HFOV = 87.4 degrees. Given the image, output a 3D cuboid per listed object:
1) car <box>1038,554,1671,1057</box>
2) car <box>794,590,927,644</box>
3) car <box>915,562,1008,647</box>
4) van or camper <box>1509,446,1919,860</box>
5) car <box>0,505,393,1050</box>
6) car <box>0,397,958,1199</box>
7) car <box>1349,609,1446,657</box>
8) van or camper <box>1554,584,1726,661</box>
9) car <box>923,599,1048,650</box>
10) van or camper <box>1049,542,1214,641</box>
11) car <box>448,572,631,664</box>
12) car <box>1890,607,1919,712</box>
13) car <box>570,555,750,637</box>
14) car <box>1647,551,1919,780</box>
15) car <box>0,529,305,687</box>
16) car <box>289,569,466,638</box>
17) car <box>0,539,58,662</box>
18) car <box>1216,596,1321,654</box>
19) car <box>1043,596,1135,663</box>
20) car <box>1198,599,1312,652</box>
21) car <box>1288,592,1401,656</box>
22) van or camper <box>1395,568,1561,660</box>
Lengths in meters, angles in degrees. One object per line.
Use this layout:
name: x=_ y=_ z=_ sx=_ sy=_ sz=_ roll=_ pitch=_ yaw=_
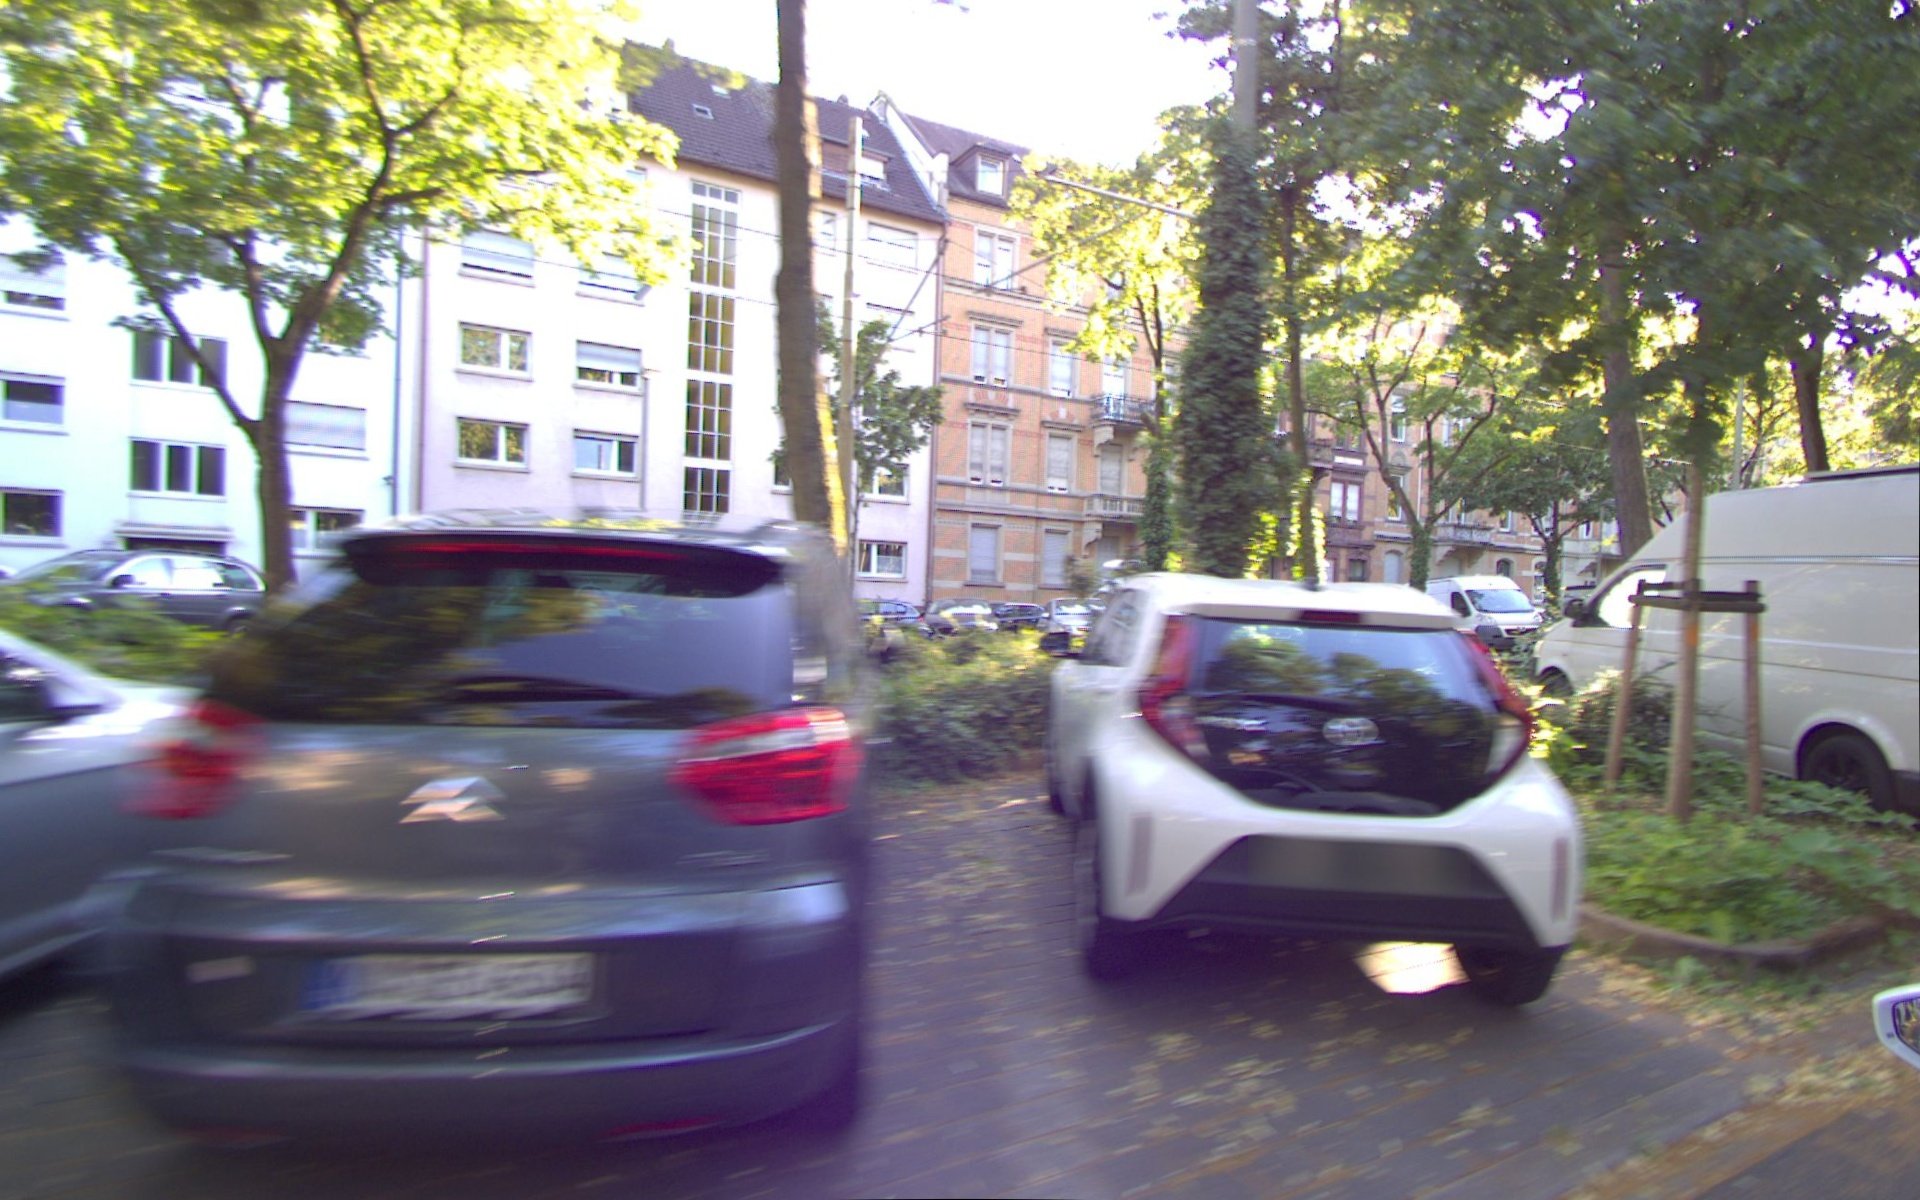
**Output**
car: x=1.388 y=0.584 z=5.012 sx=1.789 sy=1.513 sz=3.551 roll=4 pitch=3 yaw=2
car: x=-2.961 y=0.490 z=29.850 sx=3.465 sy=1.423 sz=1.843 roll=1 pitch=3 yaw=-29
car: x=0.129 y=0.117 z=22.407 sx=1.703 sy=1.669 sz=4.002 roll=1 pitch=-1 yaw=5
van or camper: x=6.850 y=0.281 z=8.102 sx=2.005 sy=2.504 sz=4.885 roll=3 pitch=3 yaw=0
car: x=-3.486 y=0.457 z=2.456 sx=1.821 sy=1.460 sz=4.242 roll=3 pitch=3 yaw=-1
car: x=-1.097 y=0.413 z=3.935 sx=1.822 sy=1.685 sz=4.037 roll=3 pitch=3 yaw=-4
car: x=18.092 y=1.339 z=41.546 sx=3.465 sy=1.807 sz=1.843 roll=1 pitch=3 yaw=-29
van or camper: x=23.408 y=0.763 z=34.936 sx=2.261 sy=2.402 sz=5.553 roll=2 pitch=-1 yaw=1
car: x=0.813 y=0.754 z=31.711 sx=3.465 sy=1.423 sz=1.843 roll=1 pitch=3 yaw=-29
van or camper: x=5.985 y=-0.245 z=34.885 sx=5.447 sy=3.150 sz=2.065 roll=2 pitch=1 yaw=-29
car: x=-7.535 y=0.294 z=18.426 sx=1.738 sy=1.446 sz=3.999 roll=2 pitch=0 yaw=-2
car: x=14.925 y=0.999 z=13.351 sx=1.789 sy=1.513 sz=3.551 roll=4 pitch=3 yaw=2
car: x=-8.070 y=-0.108 z=27.085 sx=4.363 sy=2.021 sz=1.843 roll=1 pitch=3 yaw=-29
car: x=9.502 y=0.583 z=9.981 sx=2.004 sy=2.004 sz=4.886 roll=4 pitch=3 yaw=2
car: x=-12.919 y=0.118 z=15.547 sx=1.959 sy=2.040 sz=4.822 roll=1 pitch=-1 yaw=7
car: x=-13.591 y=0.079 z=23.621 sx=3.465 sy=1.423 sz=1.843 roll=1 pitch=3 yaw=-29
car: x=-15.303 y=-0.027 z=13.879 sx=1.778 sy=1.842 sz=4.319 roll=1 pitch=-1 yaw=-1
car: x=8.215 y=0.739 z=27.130 sx=1.868 sy=1.403 sz=4.328 roll=1 pitch=-3 yaw=6
car: x=2.951 y=0.659 z=23.770 sx=1.767 sy=1.400 sz=4.001 roll=1 pitch=-1 yaw=2
car: x=11.150 y=0.952 z=37.951 sx=3.868 sy=1.807 sz=1.843 roll=1 pitch=3 yaw=-29
car: x=10.628 y=0.654 z=28.084 sx=1.868 sy=1.603 sz=4.327 roll=1 pitch=-1 yaw=6
van or camper: x=15.615 y=0.411 z=30.728 sx=1.961 sy=2.501 sz=5.676 roll=1 pitch=-1 yaw=-2
